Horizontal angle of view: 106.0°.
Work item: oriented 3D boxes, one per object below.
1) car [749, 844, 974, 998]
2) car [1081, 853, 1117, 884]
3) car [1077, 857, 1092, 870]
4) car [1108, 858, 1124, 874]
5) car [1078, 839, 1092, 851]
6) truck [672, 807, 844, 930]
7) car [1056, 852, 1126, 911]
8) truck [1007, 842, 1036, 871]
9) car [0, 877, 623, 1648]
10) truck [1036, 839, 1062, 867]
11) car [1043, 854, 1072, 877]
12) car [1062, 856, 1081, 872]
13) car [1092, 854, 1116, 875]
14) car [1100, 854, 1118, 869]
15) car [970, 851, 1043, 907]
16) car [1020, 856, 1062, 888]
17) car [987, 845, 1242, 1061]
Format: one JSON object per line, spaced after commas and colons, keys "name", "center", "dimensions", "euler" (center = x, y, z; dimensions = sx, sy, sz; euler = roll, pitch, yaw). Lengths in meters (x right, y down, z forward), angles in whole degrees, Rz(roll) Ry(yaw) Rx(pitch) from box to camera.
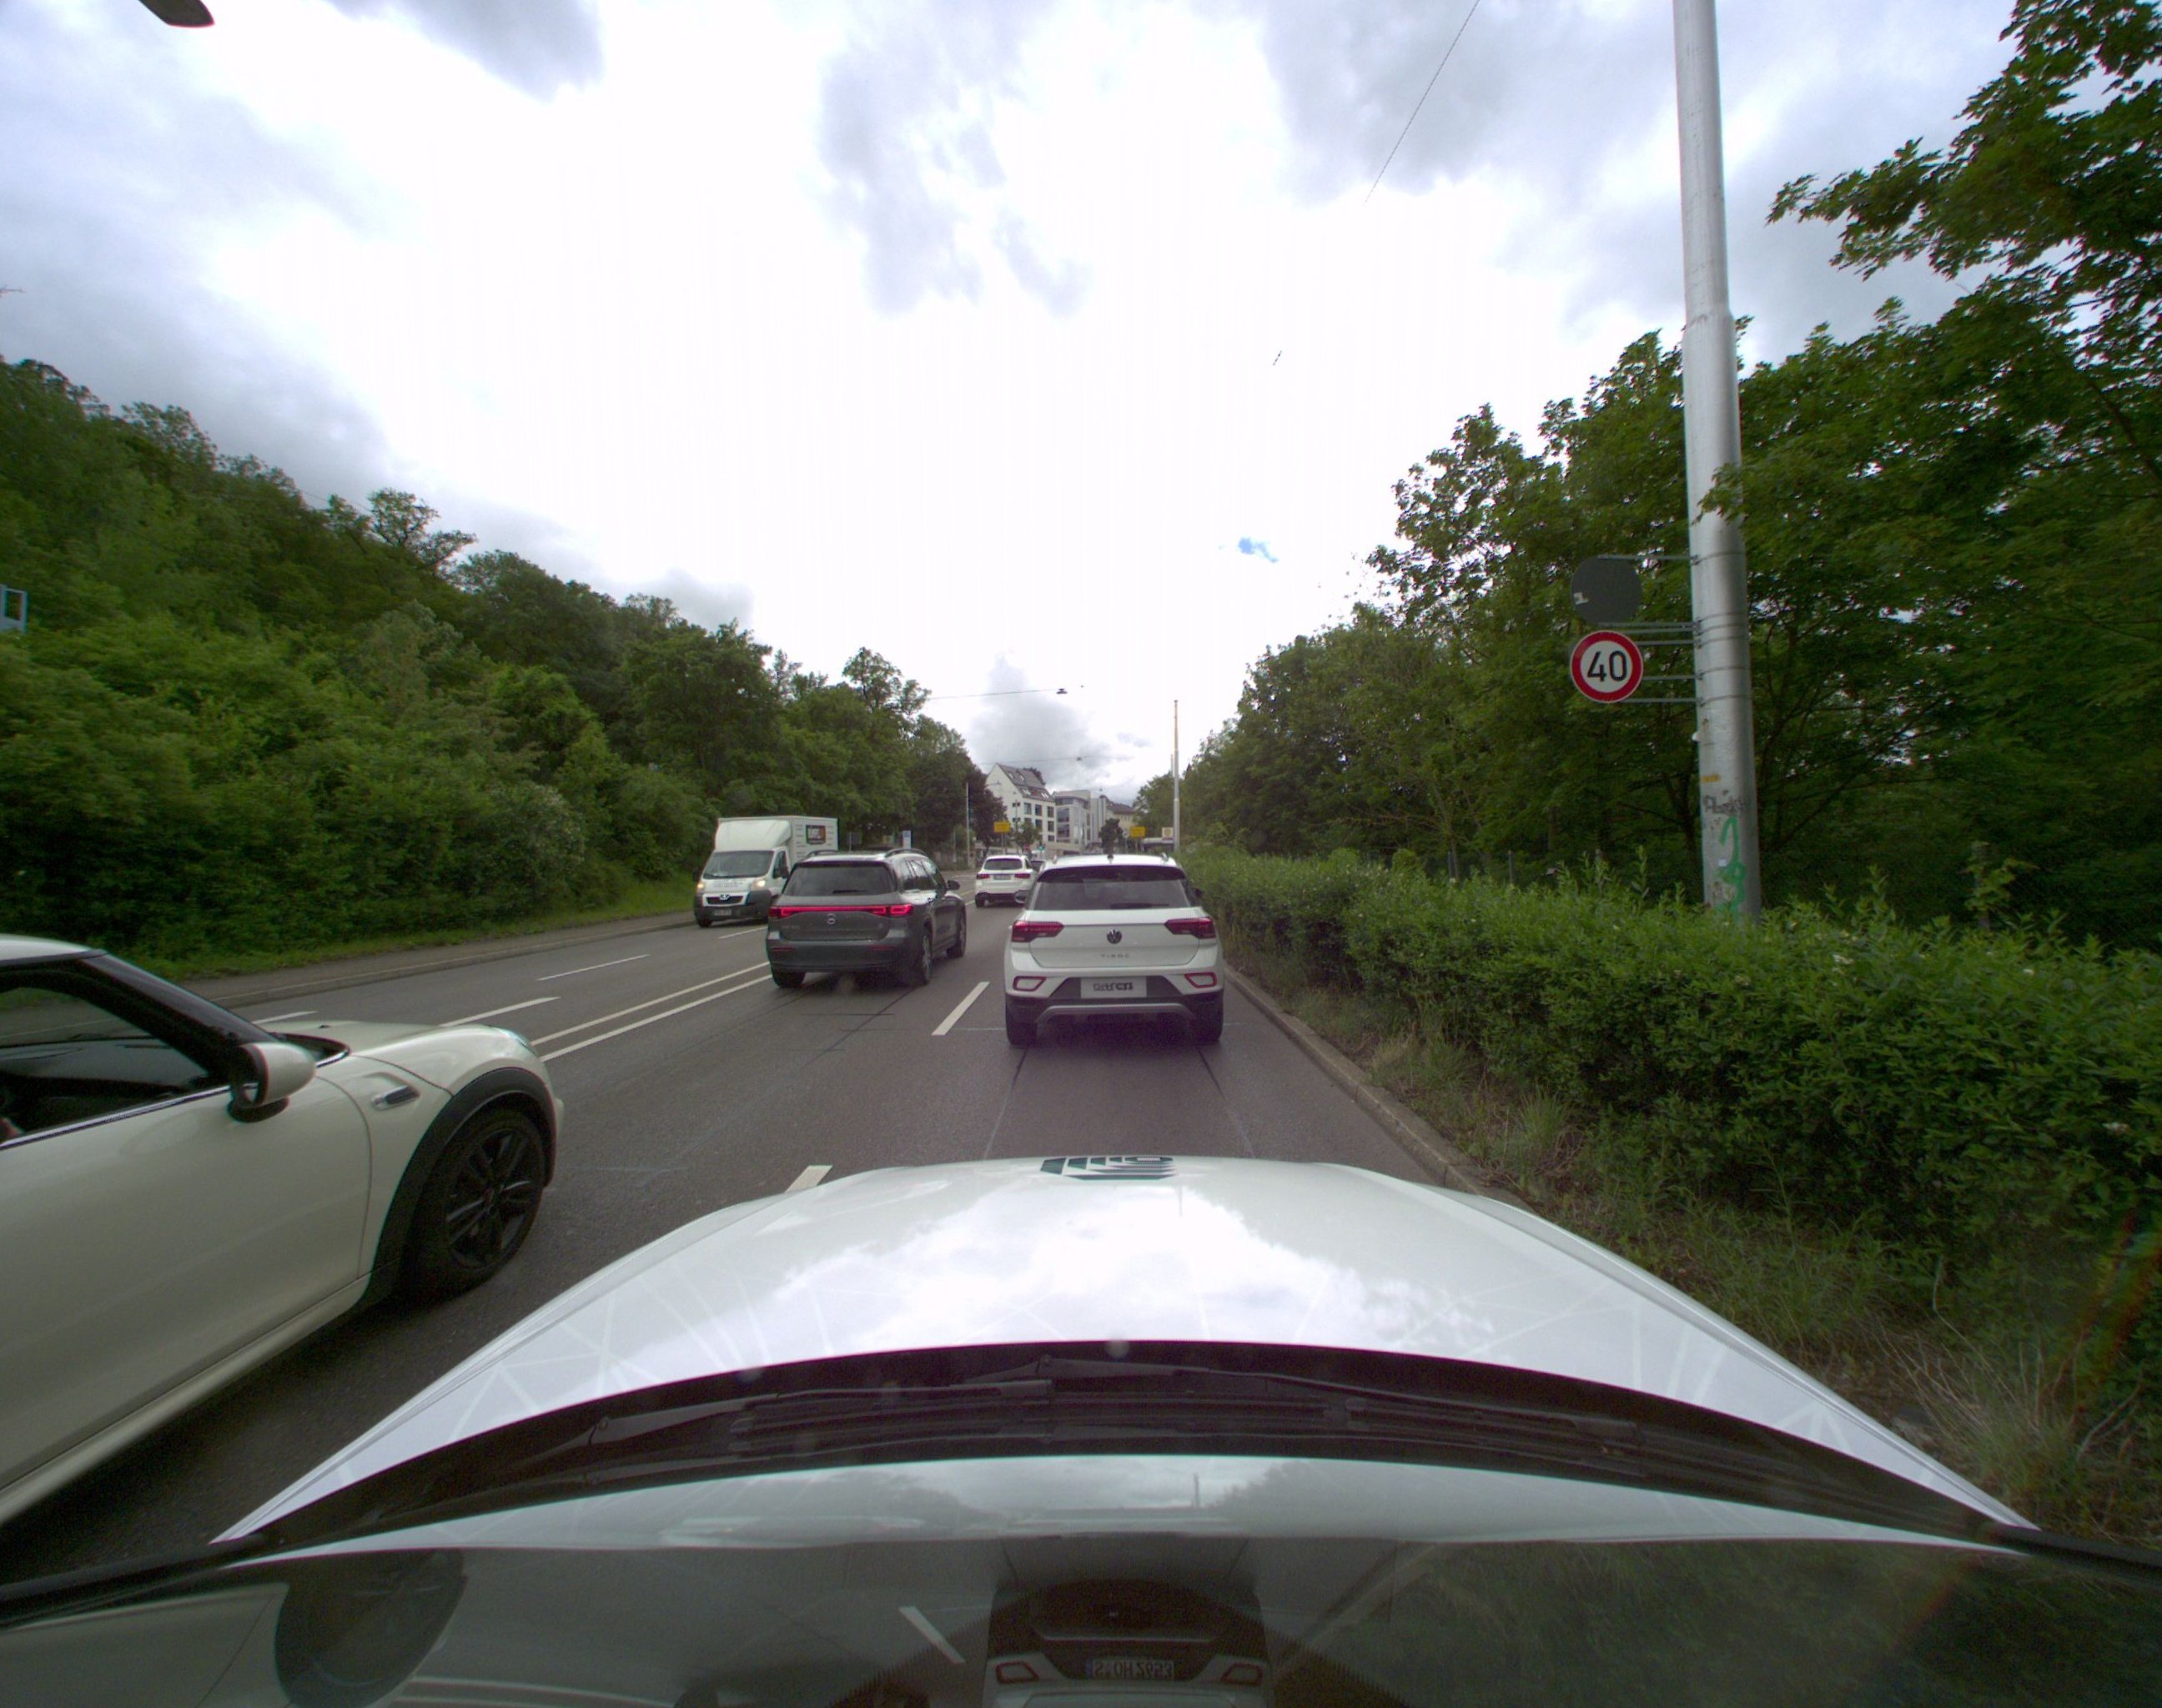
{"name": "car", "center": [-2.707, 0.740, 11.149], "dimensions": [1.843, 1.651, 4.357], "euler": [-1, 0, 0]}
{"name": "car", "center": [0.965, 0.775, 44.308], "dimensions": [1.823, 1.526, 4.001], "euler": [-2, 0, 1]}
{"name": "car", "center": [0.519, 1.280, 109.225], "dimensions": [1.809, 1.656, 3.929], "euler": [-3, 0, 1]}
{"name": "car", "center": [4.736, 1.642, 110.491], "dimensions": [1.987, 1.969, 3.999], "euler": [-2, 0, 0]}
{"name": "car", "center": [0.589, -1.309, 116.692], "dimensions": [1.823, 1.526, 4.001], "euler": [-2, 0, 1]}
{"name": "truck", "center": [-9.302, 0.397, 24.376], "dimensions": [2.286, 3.051, 6.977], "euler": [-2, -1, 0]}
{"name": "car", "center": [0.297, 0.740, 23.810], "dimensions": [1.823, 1.526, 4.001], "euler": [-2, 0, 1]}
{"name": "truck", "center": [-5.867, 0.205, 81.077], "dimensions": [2.354, 2.706, 4.478], "euler": [-3, 0, 1]}
{"name": "car", "center": [-2.920, 0.826, 1.786], "dimensions": [1.679, 1.424, 3.732], "euler": [-1, 0, 0]}
{"name": "truck", "center": [-3.295, -0.127, 85.552], "dimensions": [2.354, 2.782, 4.478], "euler": [-3, 0, 1]}
{"name": "car", "center": [-1.645, 0.810, 58.503], "dimensions": [1.823, 1.526, 4.001], "euler": [-2, 0, 1]}
{"name": "car", "center": [-0.981, 1.052, 84.214], "dimensions": [1.823, 1.526, 4.001], "euler": [-2, 0, 1]}
{"name": "car", "center": [1.808, 0.835, 64.365], "dimensions": [1.823, 1.526, 4.001], "euler": [-2, 0, 1]}
{"name": "car", "center": [2.968, 0.791, 86.827], "dimensions": [1.823, 1.526, 4.001], "euler": [-2, 0, 1]}
{"name": "car", "center": [-2.350, 0.774, 26.625], "dimensions": [1.911, 1.669, 4.001], "euler": [-1, 0, 1]}
{"name": "car", "center": [-2.015, 0.889, 41.754], "dimensions": [1.823, 1.497, 4.001], "euler": [-2, 0, 1]}
{"name": "car", "center": [0.281, 0.725, 7.941], "dimensions": [1.823, 1.526, 4.001], "euler": [-2, 0, 1]}
